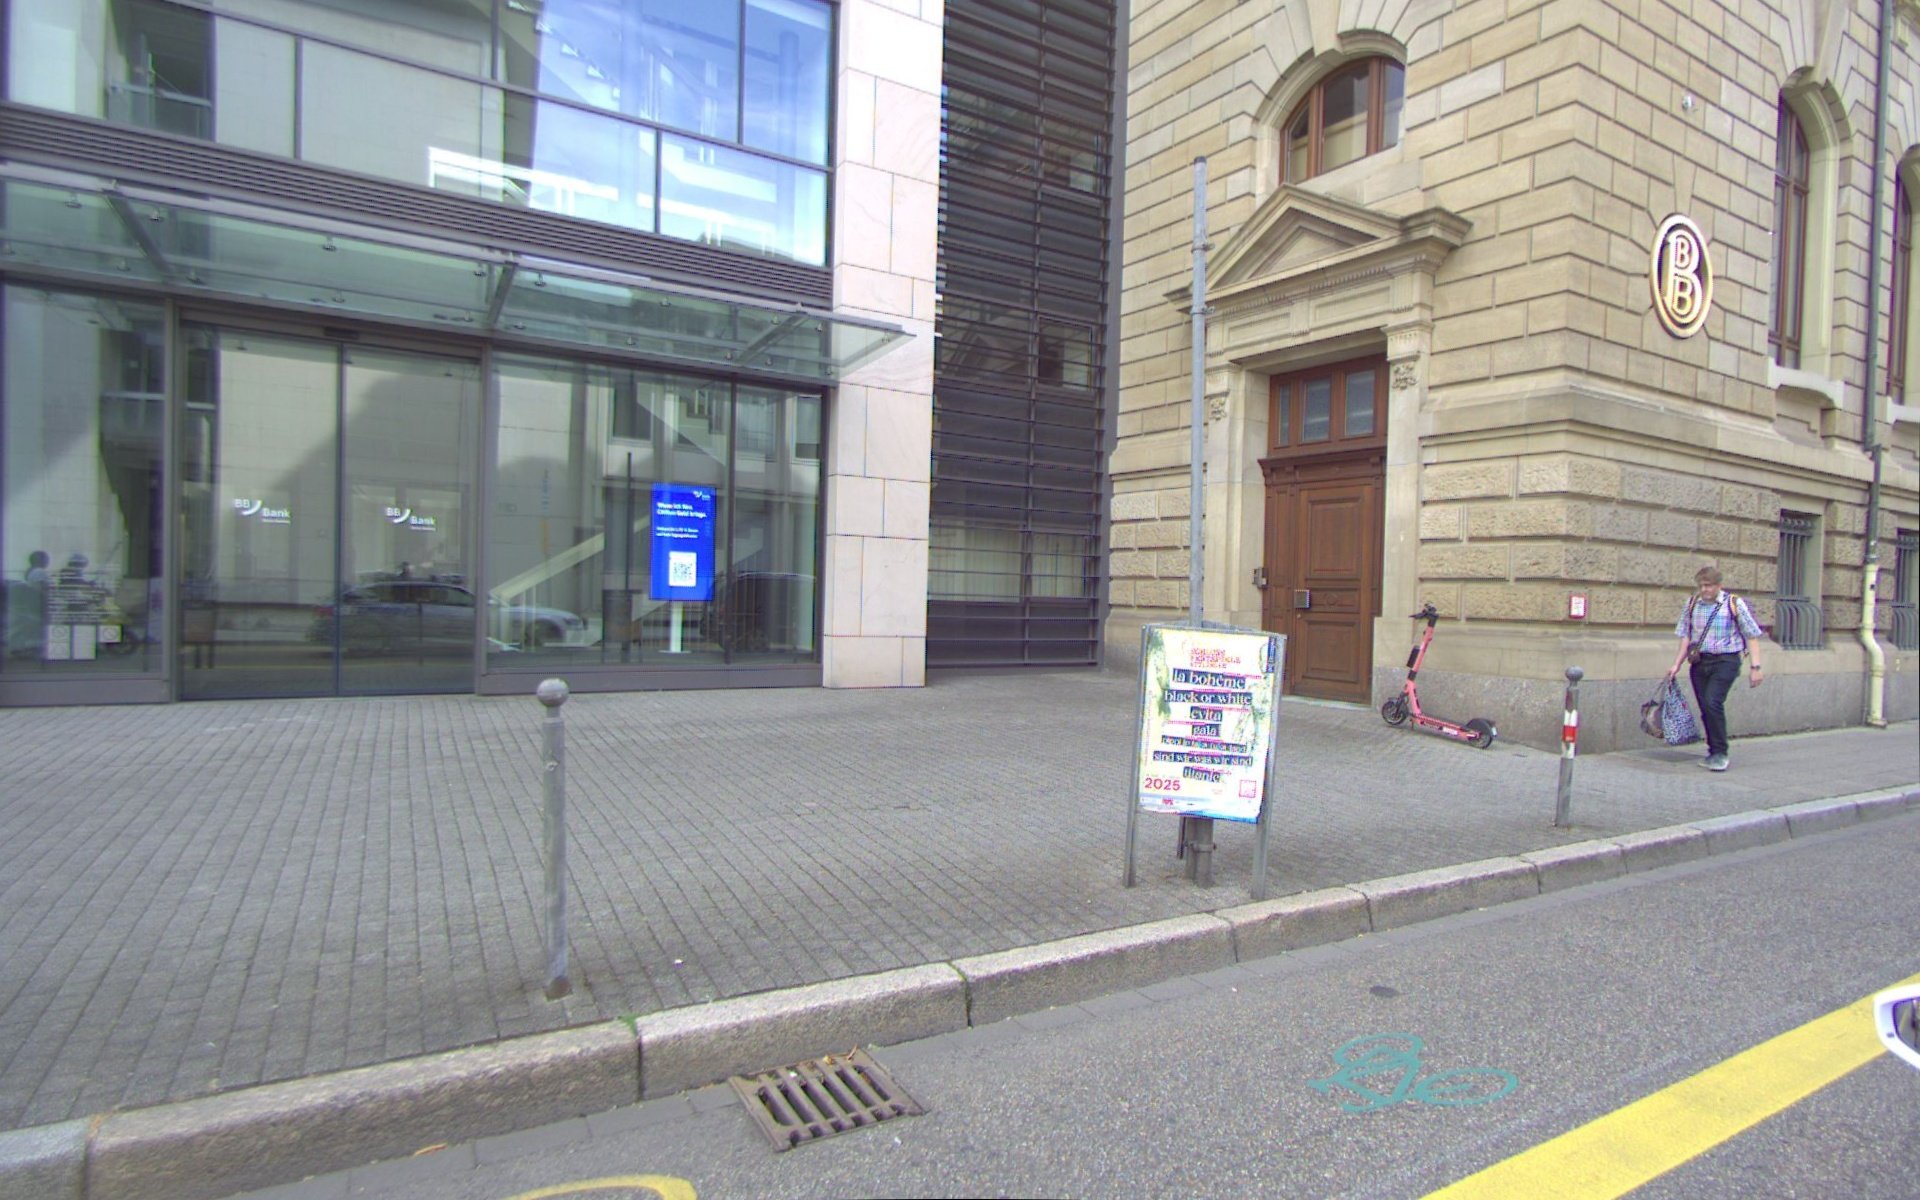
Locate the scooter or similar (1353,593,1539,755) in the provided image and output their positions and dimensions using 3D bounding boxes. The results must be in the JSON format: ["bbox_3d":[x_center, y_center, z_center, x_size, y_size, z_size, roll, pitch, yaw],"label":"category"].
[{"bbox_3d":[4.556,0.643,9.507,0.580,1.328,1.439,0,4,-30],"label":"scooter or similar"}]

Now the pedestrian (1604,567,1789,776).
[{"bbox_3d":[6.656,0.601,9.110,0.809,1.743,1.021,2,2,-30],"label":"pedestrian"}]
